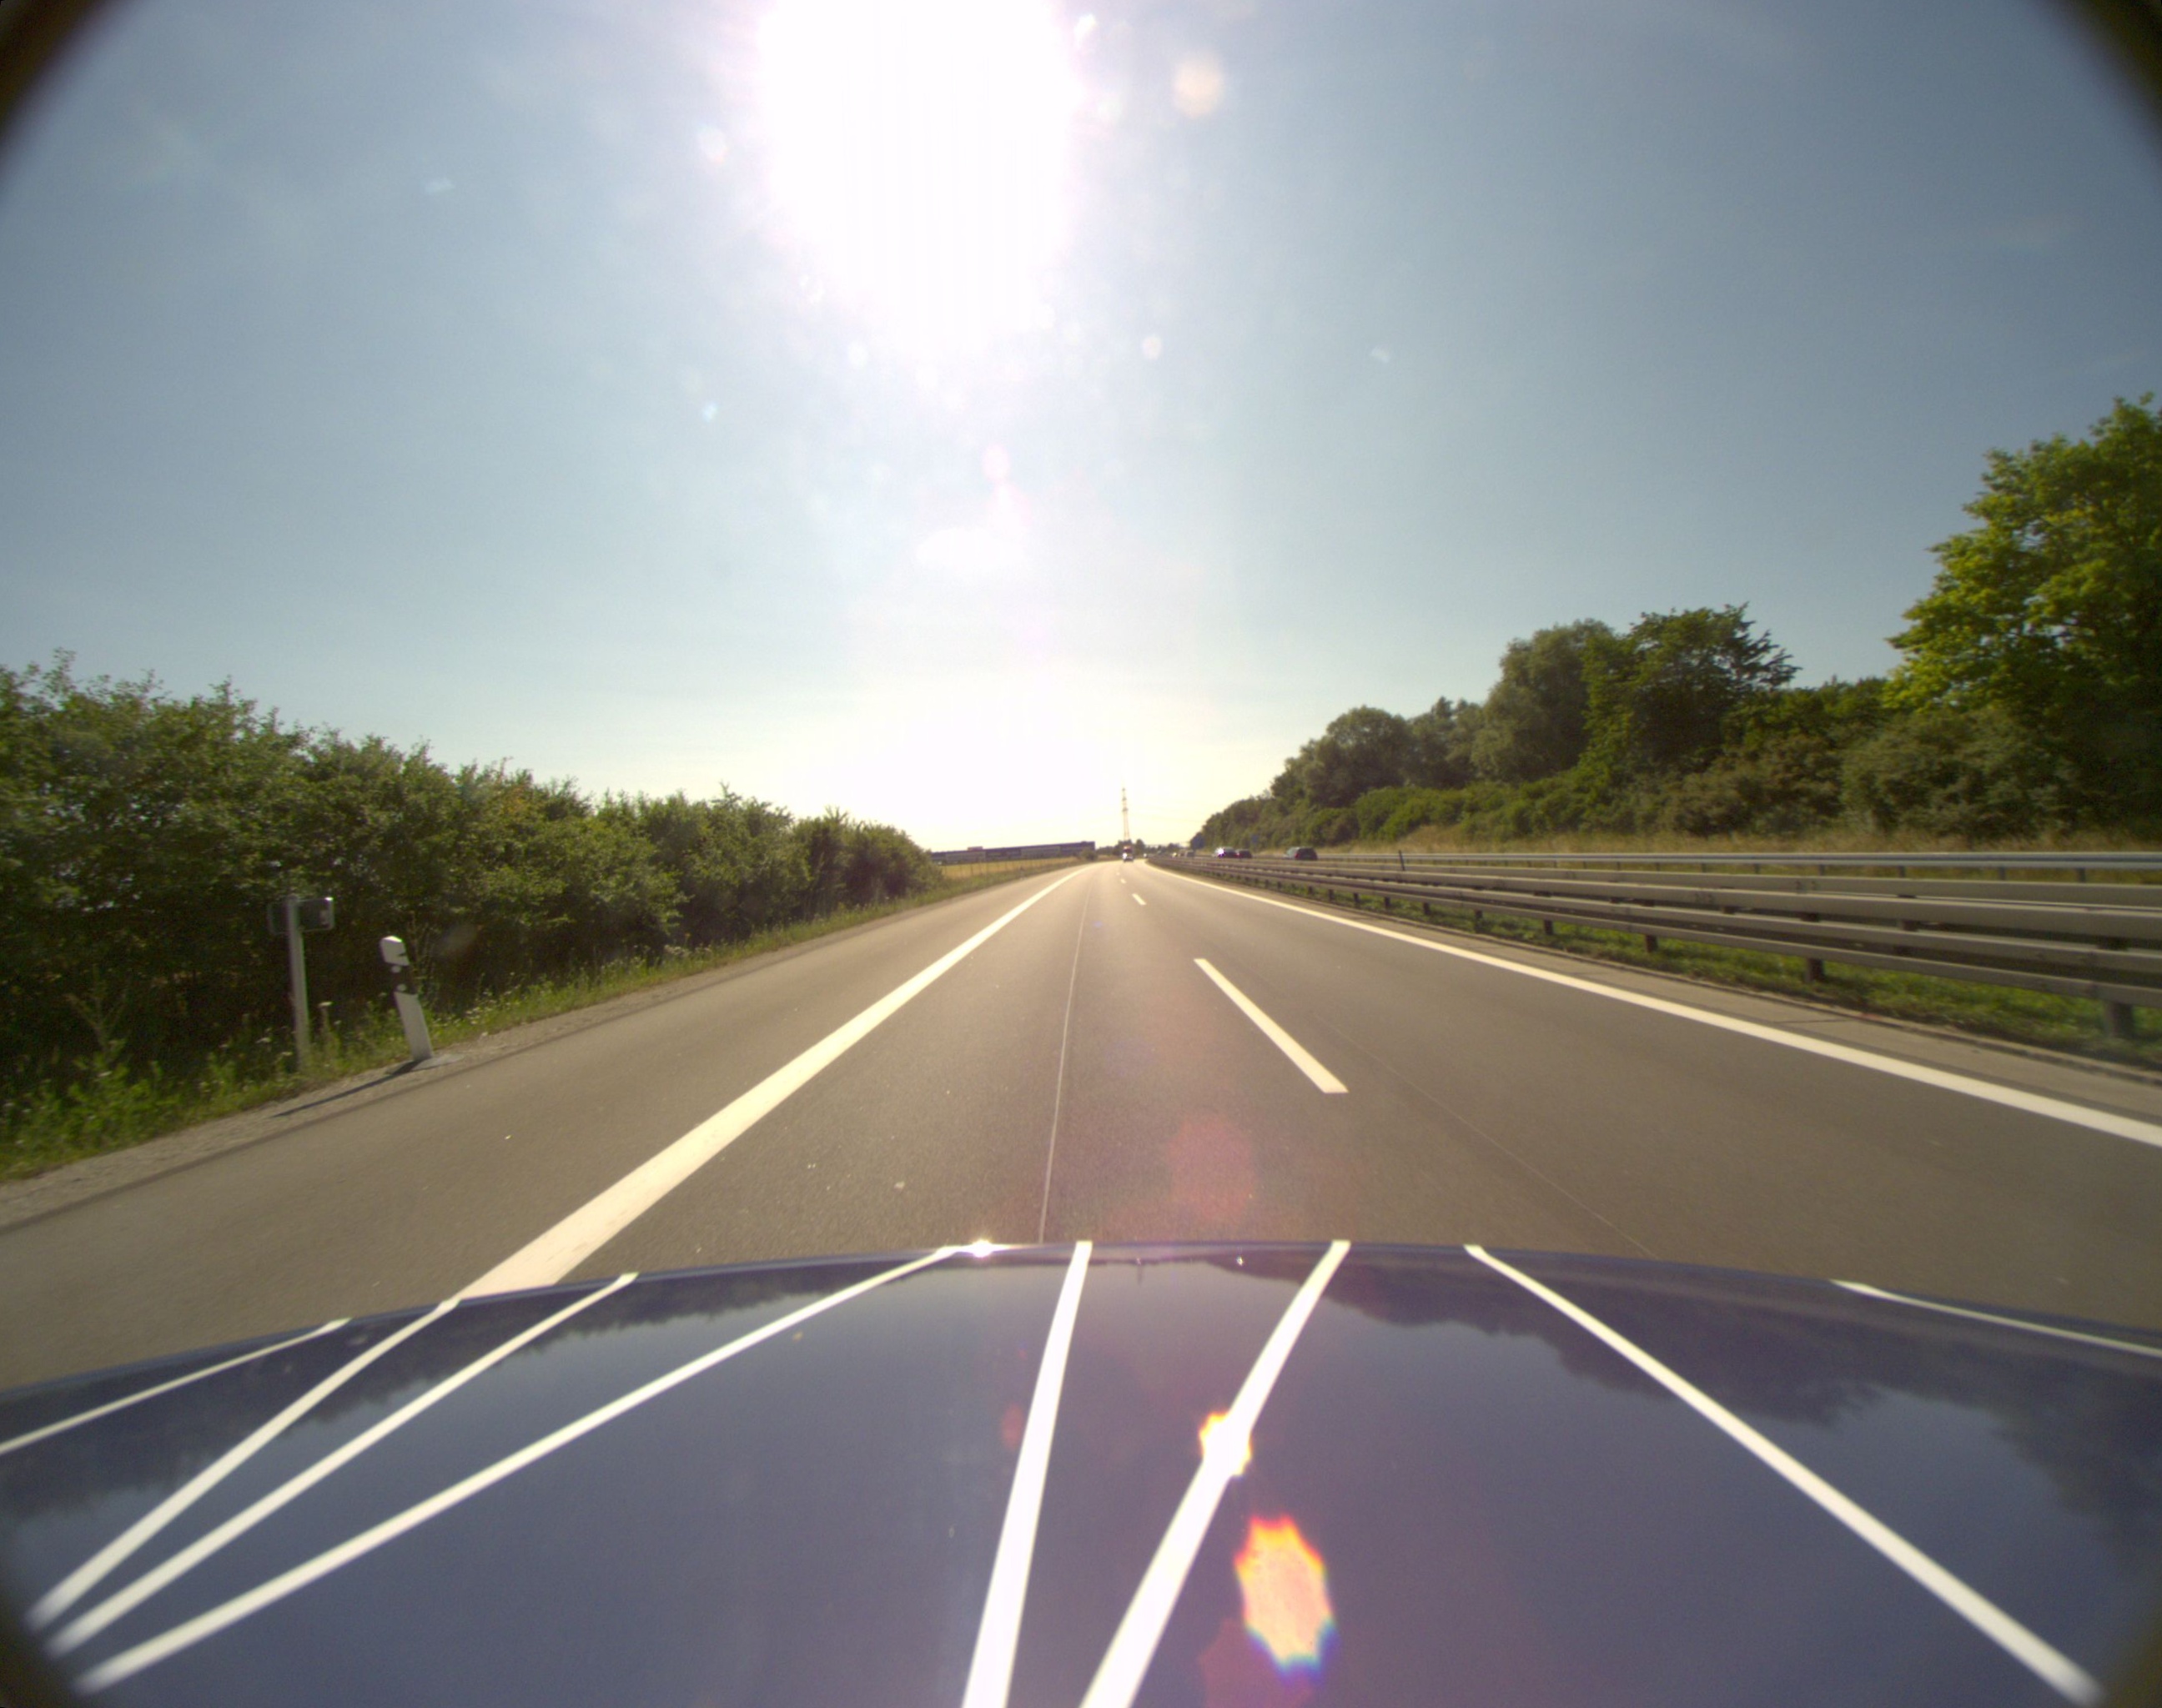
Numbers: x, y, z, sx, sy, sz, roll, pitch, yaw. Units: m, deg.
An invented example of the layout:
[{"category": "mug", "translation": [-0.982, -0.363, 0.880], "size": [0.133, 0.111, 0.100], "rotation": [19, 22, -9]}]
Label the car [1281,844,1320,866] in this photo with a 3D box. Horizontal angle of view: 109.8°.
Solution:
[{"category": "car", "translation": [15.858, 0.057, 54.984], "size": [1.666, 1.414, 4.000], "rotation": [-3, 0, 1]}]

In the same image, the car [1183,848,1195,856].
[{"category": "car", "translation": [21.641, -0.378, 152.170], "size": [1.755, 1.555, 4.580], "rotation": [-3, 0, 2]}]

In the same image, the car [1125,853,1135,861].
[{"category": "car", "translation": [9.504, 0.563, 147.852], "size": [1.860, 1.361, 4.001], "rotation": [-3, 0, 4]}]

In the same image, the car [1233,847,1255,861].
[{"category": "car", "translation": [17.632, 0.017, 82.335], "size": [1.582, 1.453, 4.153], "rotation": [-3, 0, 1]}]

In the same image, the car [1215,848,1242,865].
[{"category": "car", "translation": [13.047, 0.178, 67.417], "size": [1.666, 1.414, 4.000], "rotation": [-3, 0, 1]}]

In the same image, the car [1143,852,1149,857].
[{"category": "car", "translation": [21.997, 0.316, 255.726], "size": [1.755, 1.555, 4.580], "rotation": [-3, 0, 2]}]
